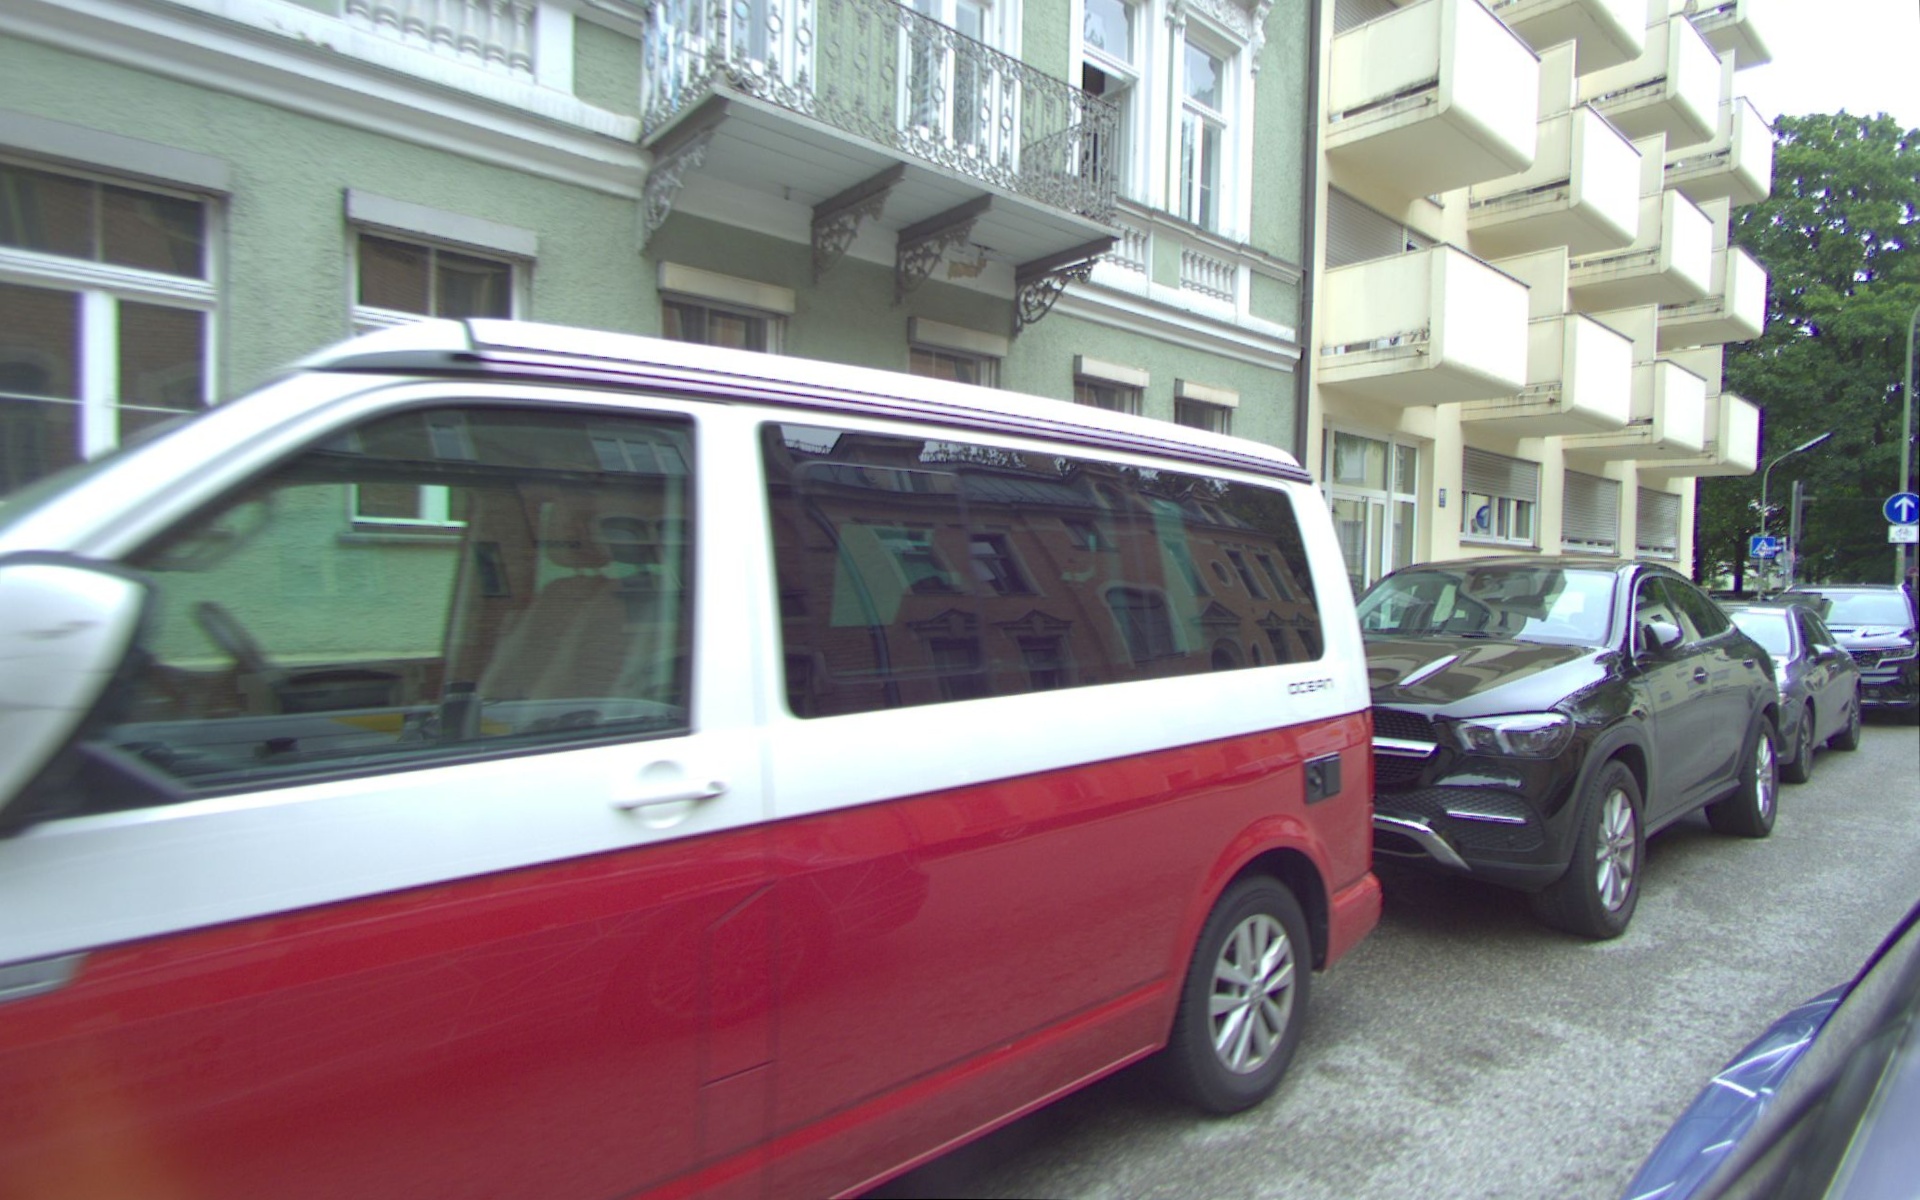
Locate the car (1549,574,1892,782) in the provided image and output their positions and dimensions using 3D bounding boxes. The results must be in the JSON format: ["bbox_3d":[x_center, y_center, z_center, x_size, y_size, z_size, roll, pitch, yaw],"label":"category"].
[{"bbox_3d":[7.387,0.571,9.663,4.261,1.485,1.752,0,3,-42],"label":"car"}]

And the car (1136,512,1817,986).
[{"bbox_3d":[3.268,0.495,5.894,4.615,1.731,1.860,0,3,-41],"label":"car"}]

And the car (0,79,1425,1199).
[{"bbox_3d":[-0.789,0.420,2.648,4.699,2.056,1.857,0,1,-41],"label":"car"}]

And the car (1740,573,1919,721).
[{"bbox_3d":[11.890,0.517,13.350,4.189,1.637,1.770,0,2,-42],"label":"car"}]
